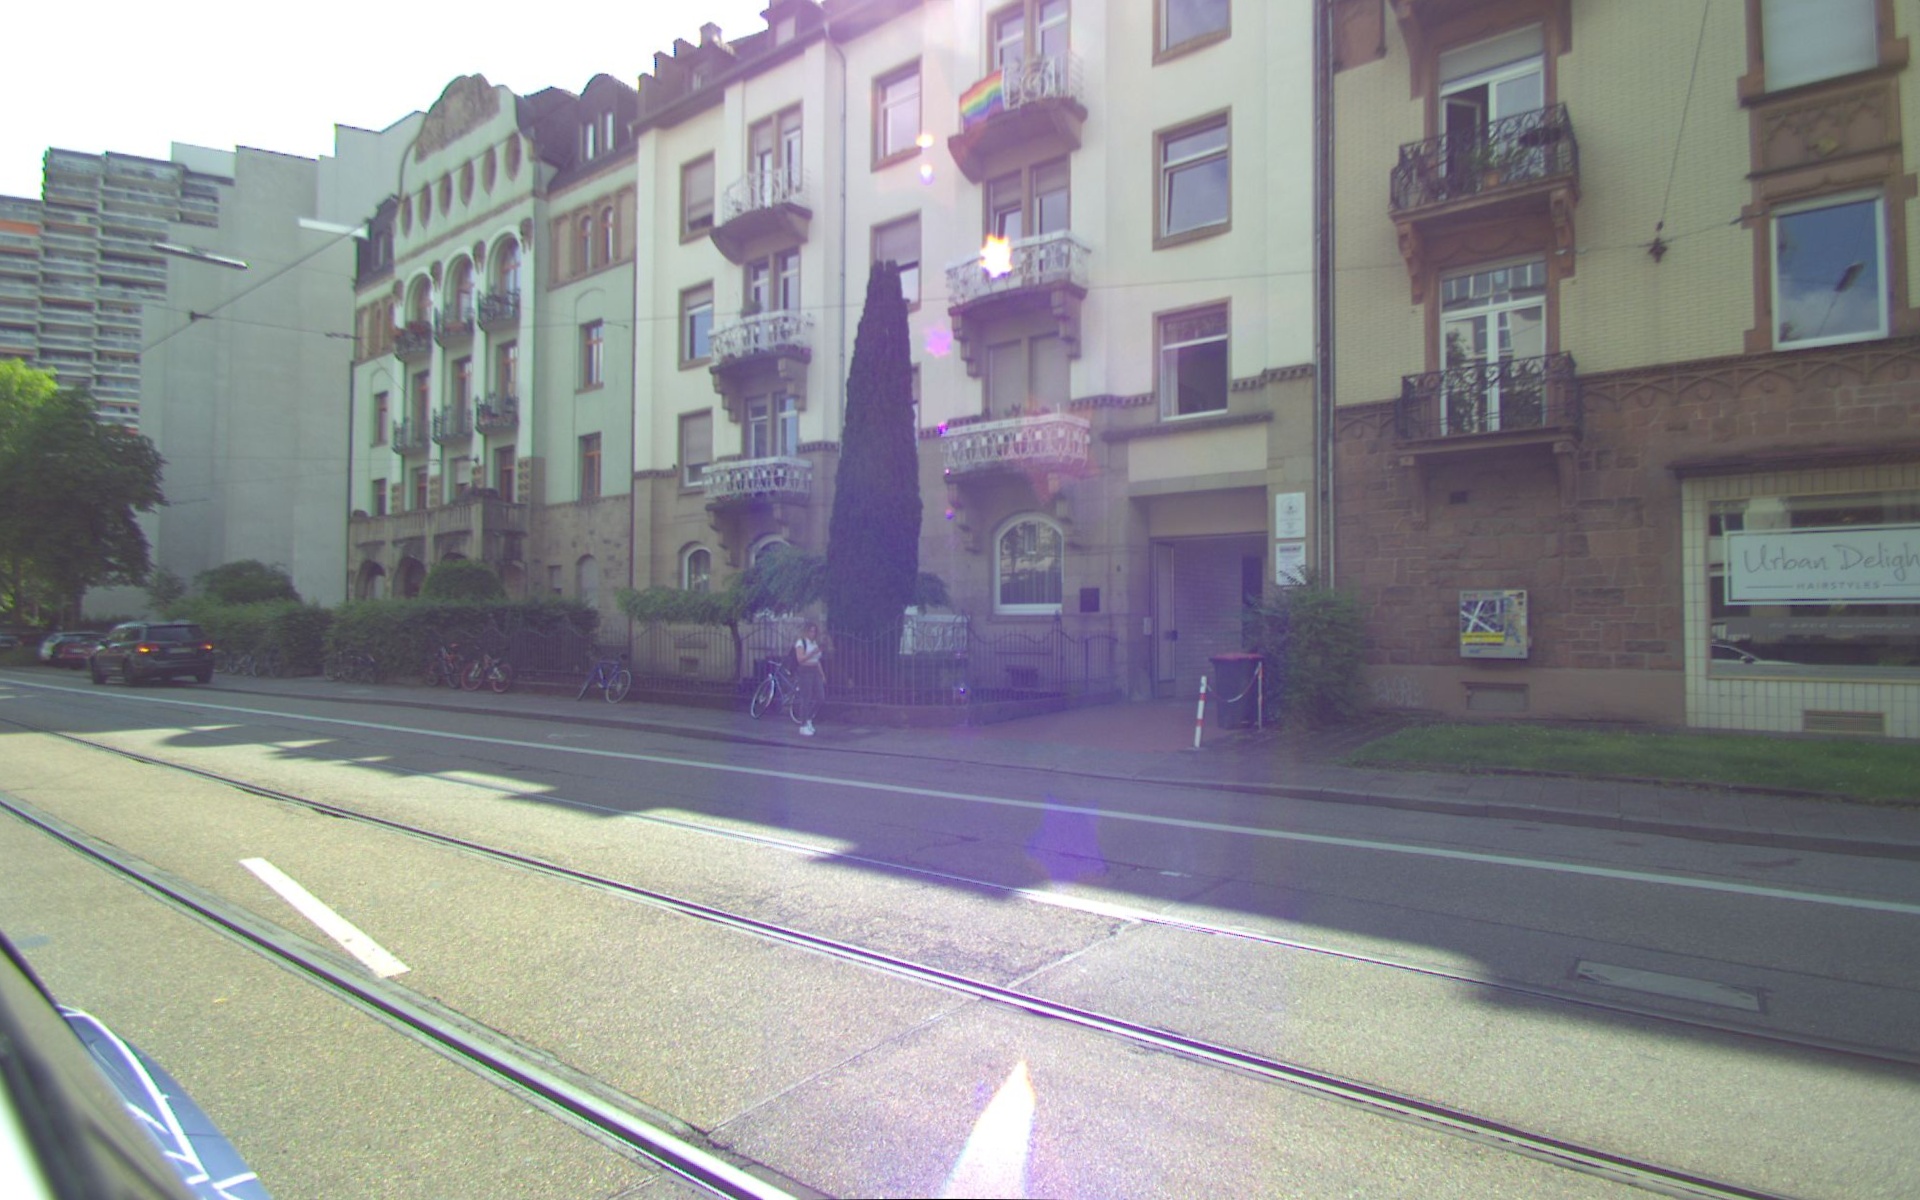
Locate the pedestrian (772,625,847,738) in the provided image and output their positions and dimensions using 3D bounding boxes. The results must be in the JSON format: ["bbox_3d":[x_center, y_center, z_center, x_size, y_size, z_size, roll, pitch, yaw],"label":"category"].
[{"bbox_3d":[-2.156,1.147,14.534,0.764,1.553,0.749,-2,-3,39],"label":"pedestrian"}]

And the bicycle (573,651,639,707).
[{"bbox_3d":[-6.771,1.486,19.322,0.461,1.003,1.788,2,-3,-45],"label":"bicycle"}]

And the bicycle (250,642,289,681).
[{"bbox_3d":[-20.595,1.816,30.176,1.785,1.144,0.462,-2,-3,40],"label":"bicycle"}]

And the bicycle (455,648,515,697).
[{"bbox_3d":[-10.354,1.564,22.024,1.785,1.003,0.462,-2,-3,40],"label":"bicycle"}]

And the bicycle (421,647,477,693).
[{"bbox_3d":[-11.768,1.601,23.290,1.785,1.003,0.462,-2,-3,40],"label":"bicycle"}]

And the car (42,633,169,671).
[{"bbox_3d":[-35.655,2.150,42.282,3.938,1.519,2.002,2,-3,-42],"label":"car"}]

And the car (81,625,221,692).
[{"bbox_3d":[-22.335,1.556,27.901,4.393,1.708,1.899,-1,-2,36],"label":"car"}]

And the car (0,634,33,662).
[{"bbox_3d":[-53.573,2.627,55.499,3.938,1.519,2.002,2,-3,-42],"label":"car"}]

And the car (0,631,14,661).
[{"bbox_3d":[-56.470,2.608,57.451,3.938,1.695,2.002,2,-3,-42],"label":"car"}]

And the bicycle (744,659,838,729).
[{"bbox_3d":[-2.704,1.450,16.014,0.461,1.003,1.980,2,-3,-43],"label":"bicycle"}]

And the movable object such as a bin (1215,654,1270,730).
[{"bbox_3d":[3.976,1.290,14.291,0.697,1.037,0.475,0,-2,11],"label":"movable object such as a bin"}]

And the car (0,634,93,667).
[{"bbox_3d":[-43.565,2.348,47.772,3.938,1.519,2.002,2,-3,-42],"label":"car"}]

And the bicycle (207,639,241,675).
[{"bbox_3d":[-23.772,1.833,32.672,1.785,1.144,0.462,-2,-3,40],"label":"bicycle"}]

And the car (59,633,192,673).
[{"bbox_3d":[-32.975,2.065,40.024,3.938,1.519,2.002,2,-3,-42],"label":"car"}]

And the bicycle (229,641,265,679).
[{"bbox_3d":[-22.119,1.836,31.380,1.785,1.144,0.462,-2,-3,40],"label":"bicycle"}]

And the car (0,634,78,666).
[{"bbox_3d":[-46.018,2.427,49.754,3.938,1.519,2.002,2,-3,-42],"label":"car"}]

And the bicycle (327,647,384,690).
[{"bbox_3d":[-15.238,1.706,25.506,1.979,1.003,0.597,-2,-3,40],"label":"bicycle"}]

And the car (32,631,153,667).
[{"bbox_3d":[-38.258,2.148,44.700,3.938,1.519,2.002,2,-3,-42],"label":"car"}]

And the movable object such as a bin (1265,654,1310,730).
[{"bbox_3d":[4.606,1.285,14.242,0.531,1.037,0.475,0,-2,11],"label":"movable object such as a bin"}]

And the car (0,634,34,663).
[{"bbox_3d":[-51.387,2.550,53.193,3.938,1.519,2.002,2,-3,-42],"label":"car"}]

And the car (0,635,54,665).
[{"bbox_3d":[-48.698,2.519,51.407,3.938,1.519,2.002,2,-3,-42],"label":"car"}]
